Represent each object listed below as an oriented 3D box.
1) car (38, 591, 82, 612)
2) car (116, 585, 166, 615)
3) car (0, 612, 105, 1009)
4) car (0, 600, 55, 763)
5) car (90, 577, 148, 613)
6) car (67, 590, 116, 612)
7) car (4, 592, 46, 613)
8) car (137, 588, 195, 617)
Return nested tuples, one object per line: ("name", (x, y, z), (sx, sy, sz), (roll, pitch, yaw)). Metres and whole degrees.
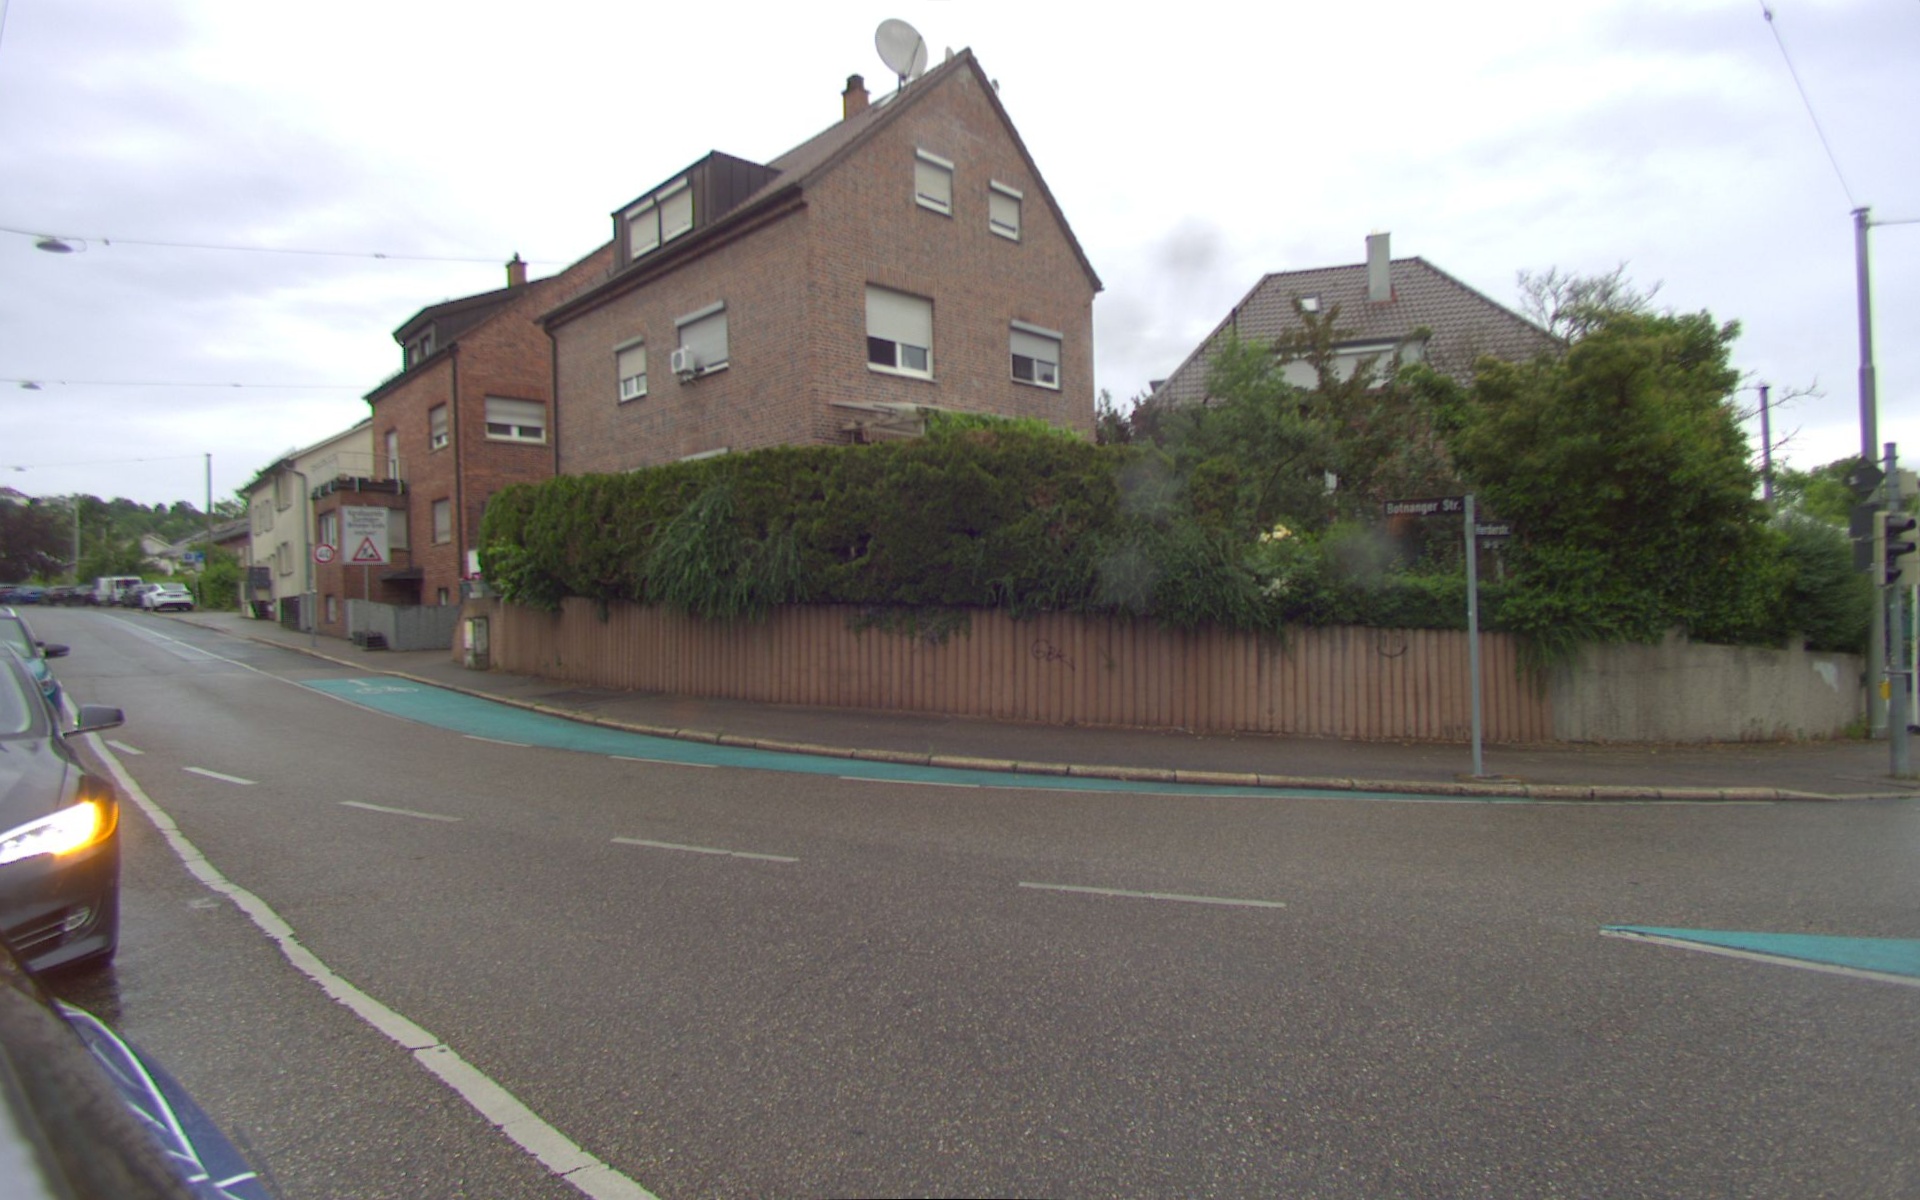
("car", (-66.522, 0.109, 74.785), (3.854, 1.407, 1.635), (-1, 2, 36))
("car", (-52.370, -0.021, 64.717), (4.262, 1.817, 1.791), (0, 2, 42))
("car", (-5.396, 0.798, 4.696), (4.002, 1.426, 1.845), (0, 0, 45))
("car", (-11.138, 0.806, 10.974), (3.785, 1.601, 1.765), (0, 0, 45))
("car", (-57.017, -0.331, 68.574), (4.544, 2.303, 2.229), (0, 2, 41))
("car", (-61.472, 0.089, 71.591), (4.002, 1.501, 1.636), (-1, 2, 34))
("car", (-71.338, 0.202, 77.173), (3.895, 1.501, 1.605), (-1, 2, 36))
("car", (-46.421, 0.152, 59.124), (4.262, 1.577, 1.921), (0, 2, 42))
